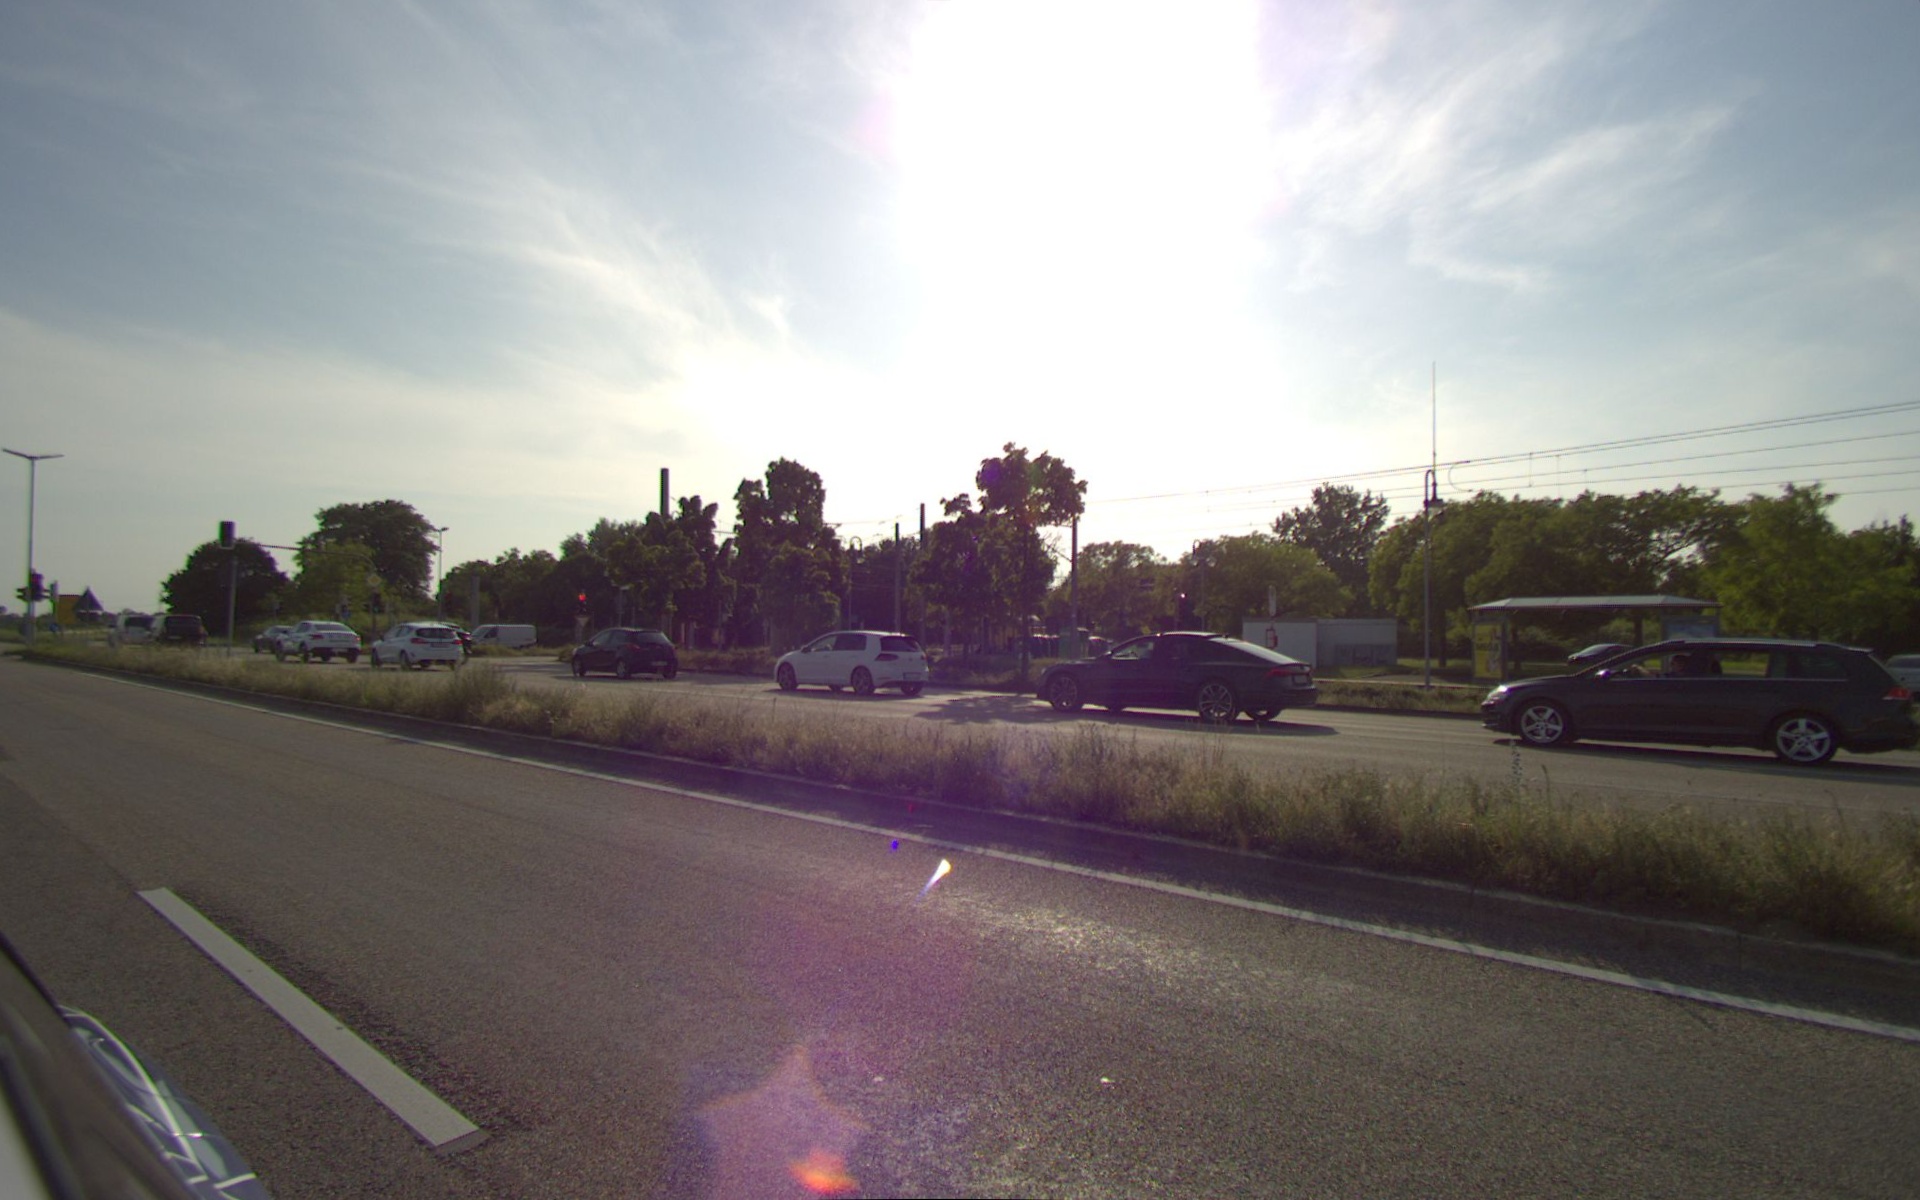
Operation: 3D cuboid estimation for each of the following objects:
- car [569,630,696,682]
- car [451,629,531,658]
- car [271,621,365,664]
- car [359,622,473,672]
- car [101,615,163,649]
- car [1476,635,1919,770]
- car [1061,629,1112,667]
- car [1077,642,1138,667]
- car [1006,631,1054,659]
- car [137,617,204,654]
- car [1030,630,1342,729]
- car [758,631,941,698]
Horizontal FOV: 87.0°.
[{"bbox_3d":[-9.501,1.598,29.251,3.998,1.391,1.643,-1,-4,41],"label":"car"},{"bbox_3d":[-34.154,3.110,73.806,2.250,1.901,4.787,-1,0,36],"label":"car"},{"bbox_3d":[-23.979,1.579,37.741,4.582,1.519,1.733,-1,-4,42],"label":"car"},{"bbox_3d":[-17.396,1.487,32.287,4.292,1.481,1.799,-1,-4,42],"label":"car"},{"bbox_3d":[-48.401,1.867,59.135,5.077,1.843,1.972,-1,-4,42],"label":"car"},{"bbox_3d":[9.149,1.170,12.682,4.539,1.391,1.643,-1,-4,41],"label":"car"},{"bbox_3d":[6.935,2.582,55.332,1.822,1.892,3.647,-1,0,23],"label":"car"},{"bbox_3d":[10.028,3.676,68.778,3.958,1.549,1.993,-1,0,12],"label":"car"},{"bbox_3d":[4.124,2.608,59.263,1.820,1.431,3.974,-1,0,20],"label":"car"},{"bbox_3d":[-40.161,1.798,51.448,4.527,1.759,1.838,-1,-4,42],"label":"car"},{"bbox_3d":[3.653,1.245,17.033,4.973,1.426,1.643,-1,-4,41],"label":"car"},{"bbox_3d":[-2.643,1.456,23.570,4.466,1.391,1.643,-1,-4,41],"label":"car"}]
